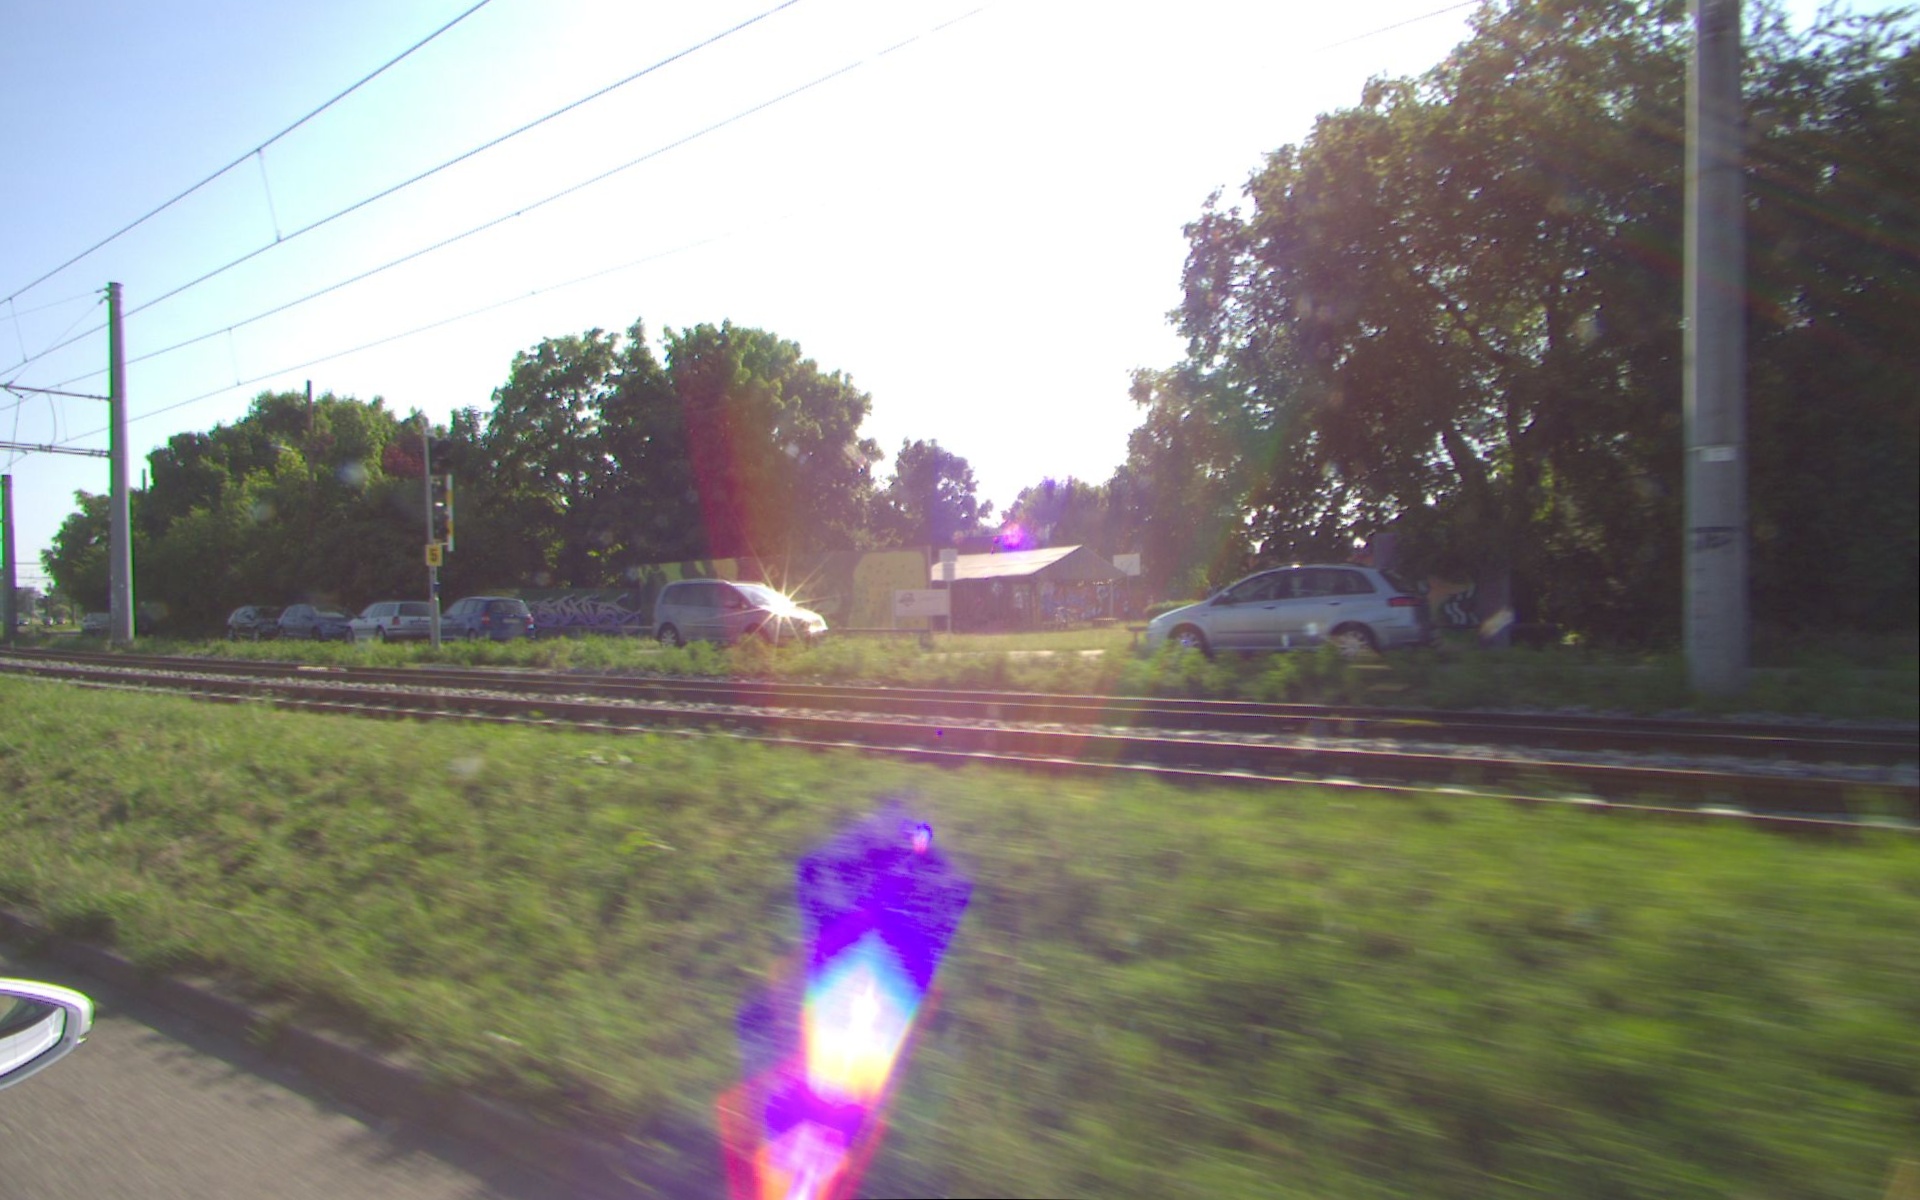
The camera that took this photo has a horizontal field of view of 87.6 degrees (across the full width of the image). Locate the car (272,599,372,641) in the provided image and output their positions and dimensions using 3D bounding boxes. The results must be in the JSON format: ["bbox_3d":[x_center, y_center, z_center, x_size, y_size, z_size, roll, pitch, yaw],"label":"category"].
[{"bbox_3d":[-22.955,0.702,35.996,4.091,1.419,1.481,-1,0,33],"label":"car"}]

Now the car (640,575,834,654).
[{"bbox_3d":[-5.066,0.297,22.521,4.418,1.632,1.519,0,1,31],"label":"car"}]

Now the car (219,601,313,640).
[{"bbox_3d":[-27.061,0.798,38.976,4.461,1.428,1.618,-1,-1,36],"label":"car"}]

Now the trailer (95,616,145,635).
[{"bbox_3d":[-46.085,1.372,54.939,3.689,0.951,1.722,-1,-3,44],"label":"trailer"}]

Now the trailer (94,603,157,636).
[{"bbox_3d":[-43.363,1.014,51.992,4.214,1.616,2.016,-1,-3,44],"label":"trailer"}]

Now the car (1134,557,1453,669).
[{"bbox_3d":[5.418,0.184,16.546,4.664,1.612,1.901,0,1,36],"label":"car"}]

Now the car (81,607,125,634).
[{"bbox_3d":[-49.969,1.162,58.340,1.688,1.475,4.833,3,-2,-43],"label":"car"}]

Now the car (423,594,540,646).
[{"bbox_3d":[-14.326,0.577,29.899,3.864,1.448,1.671,0,-1,40],"label":"car"}]

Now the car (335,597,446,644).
[{"bbox_3d":[-19.054,0.639,33.449,4.335,1.485,1.702,0,1,38],"label":"car"}]

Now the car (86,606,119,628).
[{"bbox_3d":[-81.174,1.625,94.846,1.977,2.030,5.029,3,-2,-37],"label":"car"}]
